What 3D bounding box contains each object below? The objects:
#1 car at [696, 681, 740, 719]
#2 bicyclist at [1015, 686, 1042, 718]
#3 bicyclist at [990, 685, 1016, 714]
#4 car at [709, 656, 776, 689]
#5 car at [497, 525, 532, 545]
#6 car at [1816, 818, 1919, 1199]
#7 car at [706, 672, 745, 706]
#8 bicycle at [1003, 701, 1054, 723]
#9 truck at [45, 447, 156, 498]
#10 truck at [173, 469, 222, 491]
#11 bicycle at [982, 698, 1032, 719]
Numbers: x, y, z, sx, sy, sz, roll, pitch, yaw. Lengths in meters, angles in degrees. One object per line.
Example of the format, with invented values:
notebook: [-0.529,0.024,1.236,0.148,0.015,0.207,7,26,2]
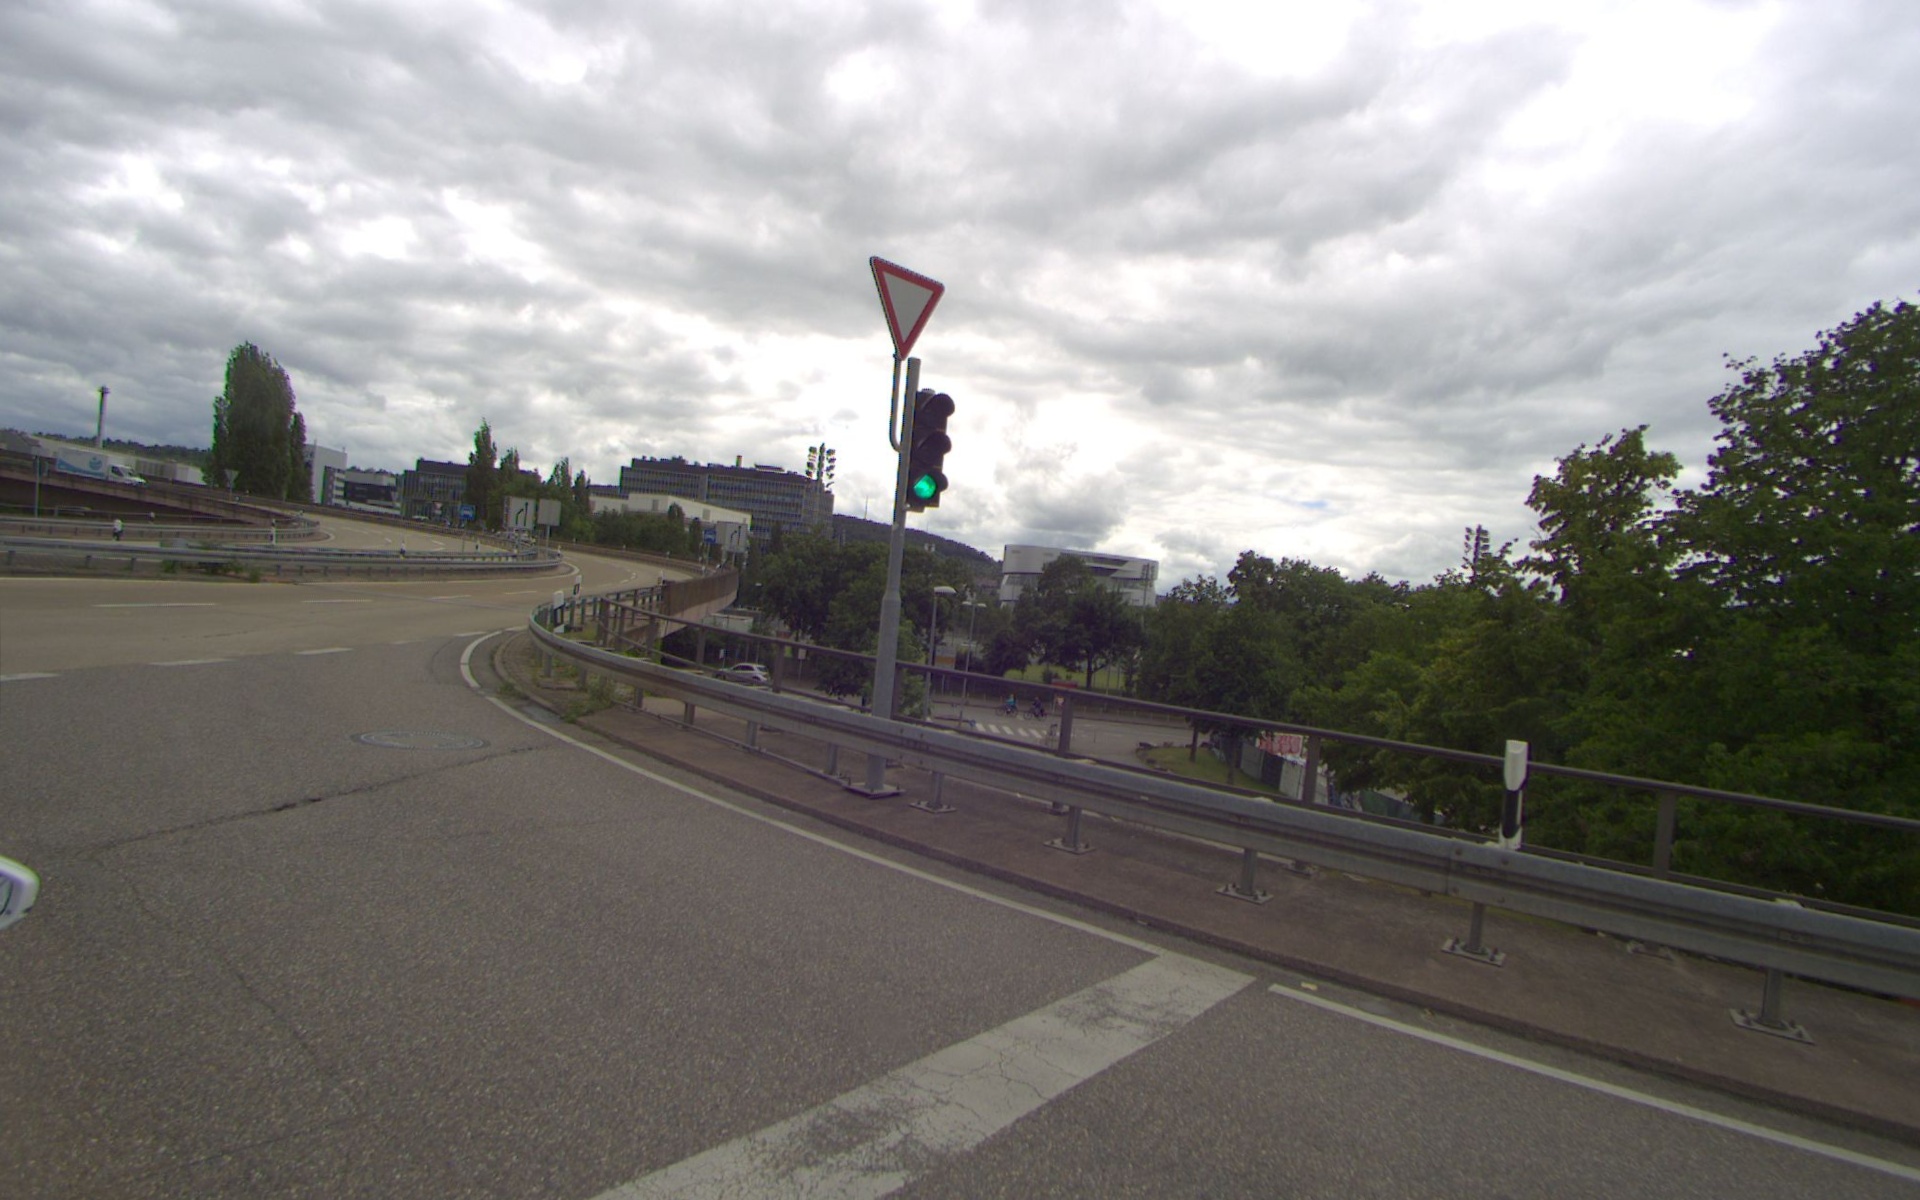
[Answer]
car: [-13.795,5.686,57.648,1.795,1.552,4.190,7,0,-7]
bicyclist: [5.434,8.130,80.071,1.559,2.272,1.089,10,-6,-17]
bicyclist: [3.449,8.029,80.913,1.544,2.114,1.089,10,-6,-17]
car: [-17.810,5.966,82.552,4.774,1.882,2.018,10,-3,-1]
car: [-45.407,-6.640,102.426,1.719,1.758,4.500,7,-1,-43]
car: [3.966,1.371,1.105,4.185,1.306,1.812,6,-2,22]
car: [-14.797,5.606,63.643,1.795,1.552,3.995,7,0,-7]
bicycle: [5.455,8.900,80.048,3.798,1.189,1.089,10,-7,-17]
truck: [-78.737,-11.653,92.302,7.227,3.307,2.327,7,-2,-10]
truck: [-114.187,-17.973,150.752,1.962,2.188,5.648,6,-3,17]
bicycle: [3.761,8.736,81.007,3.798,1.189,1.089,10,-7,-17]
